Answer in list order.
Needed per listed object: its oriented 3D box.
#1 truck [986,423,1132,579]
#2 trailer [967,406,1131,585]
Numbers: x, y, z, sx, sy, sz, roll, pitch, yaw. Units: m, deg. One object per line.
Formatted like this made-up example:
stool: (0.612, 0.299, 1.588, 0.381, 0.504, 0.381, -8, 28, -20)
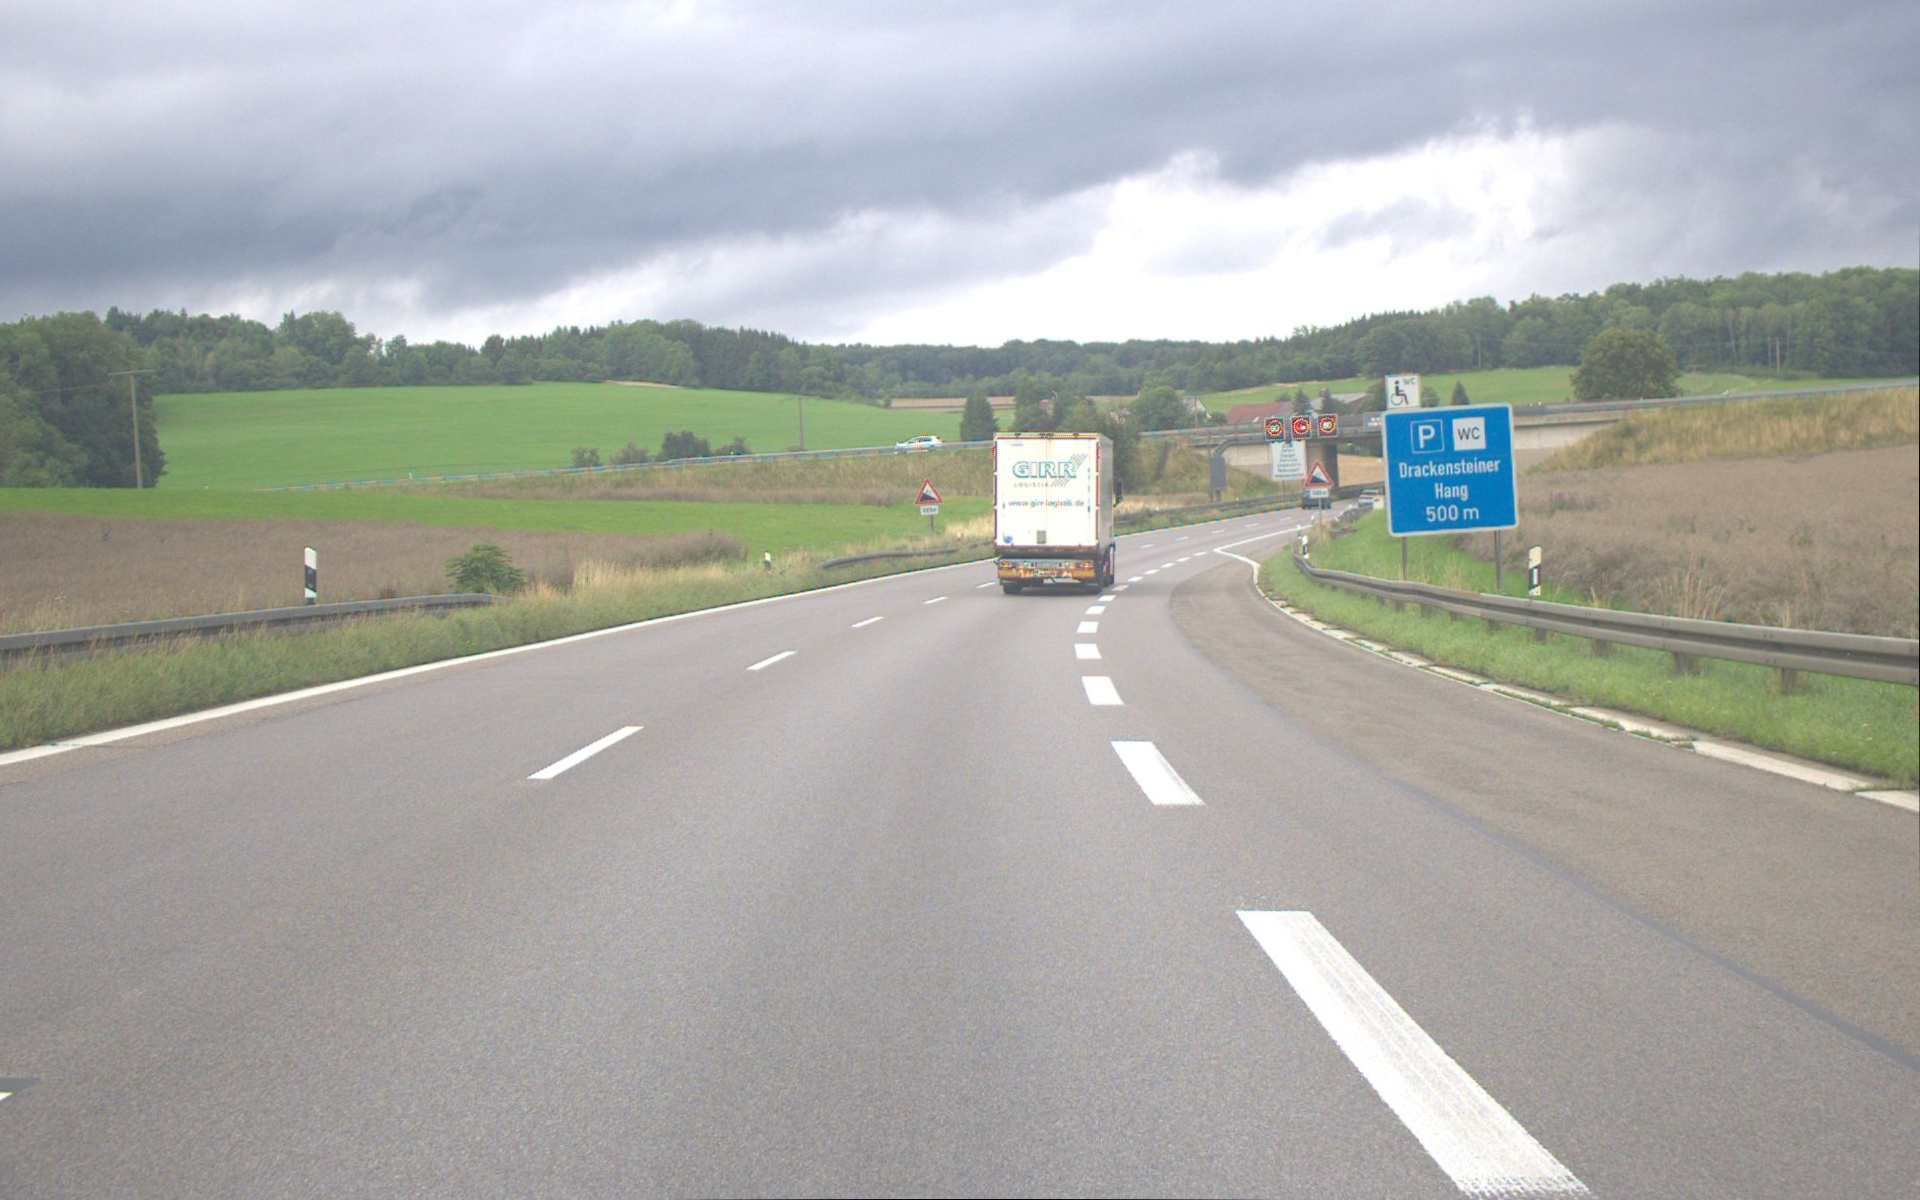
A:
truck: (2.861, -2.723, 96.451, 3.788, 4.118, 8.264, -1, 1, 3)
trailer: (2.479, -2.665, 89.202, 3.806, 4.160, 14.807, -1, 1, 3)
